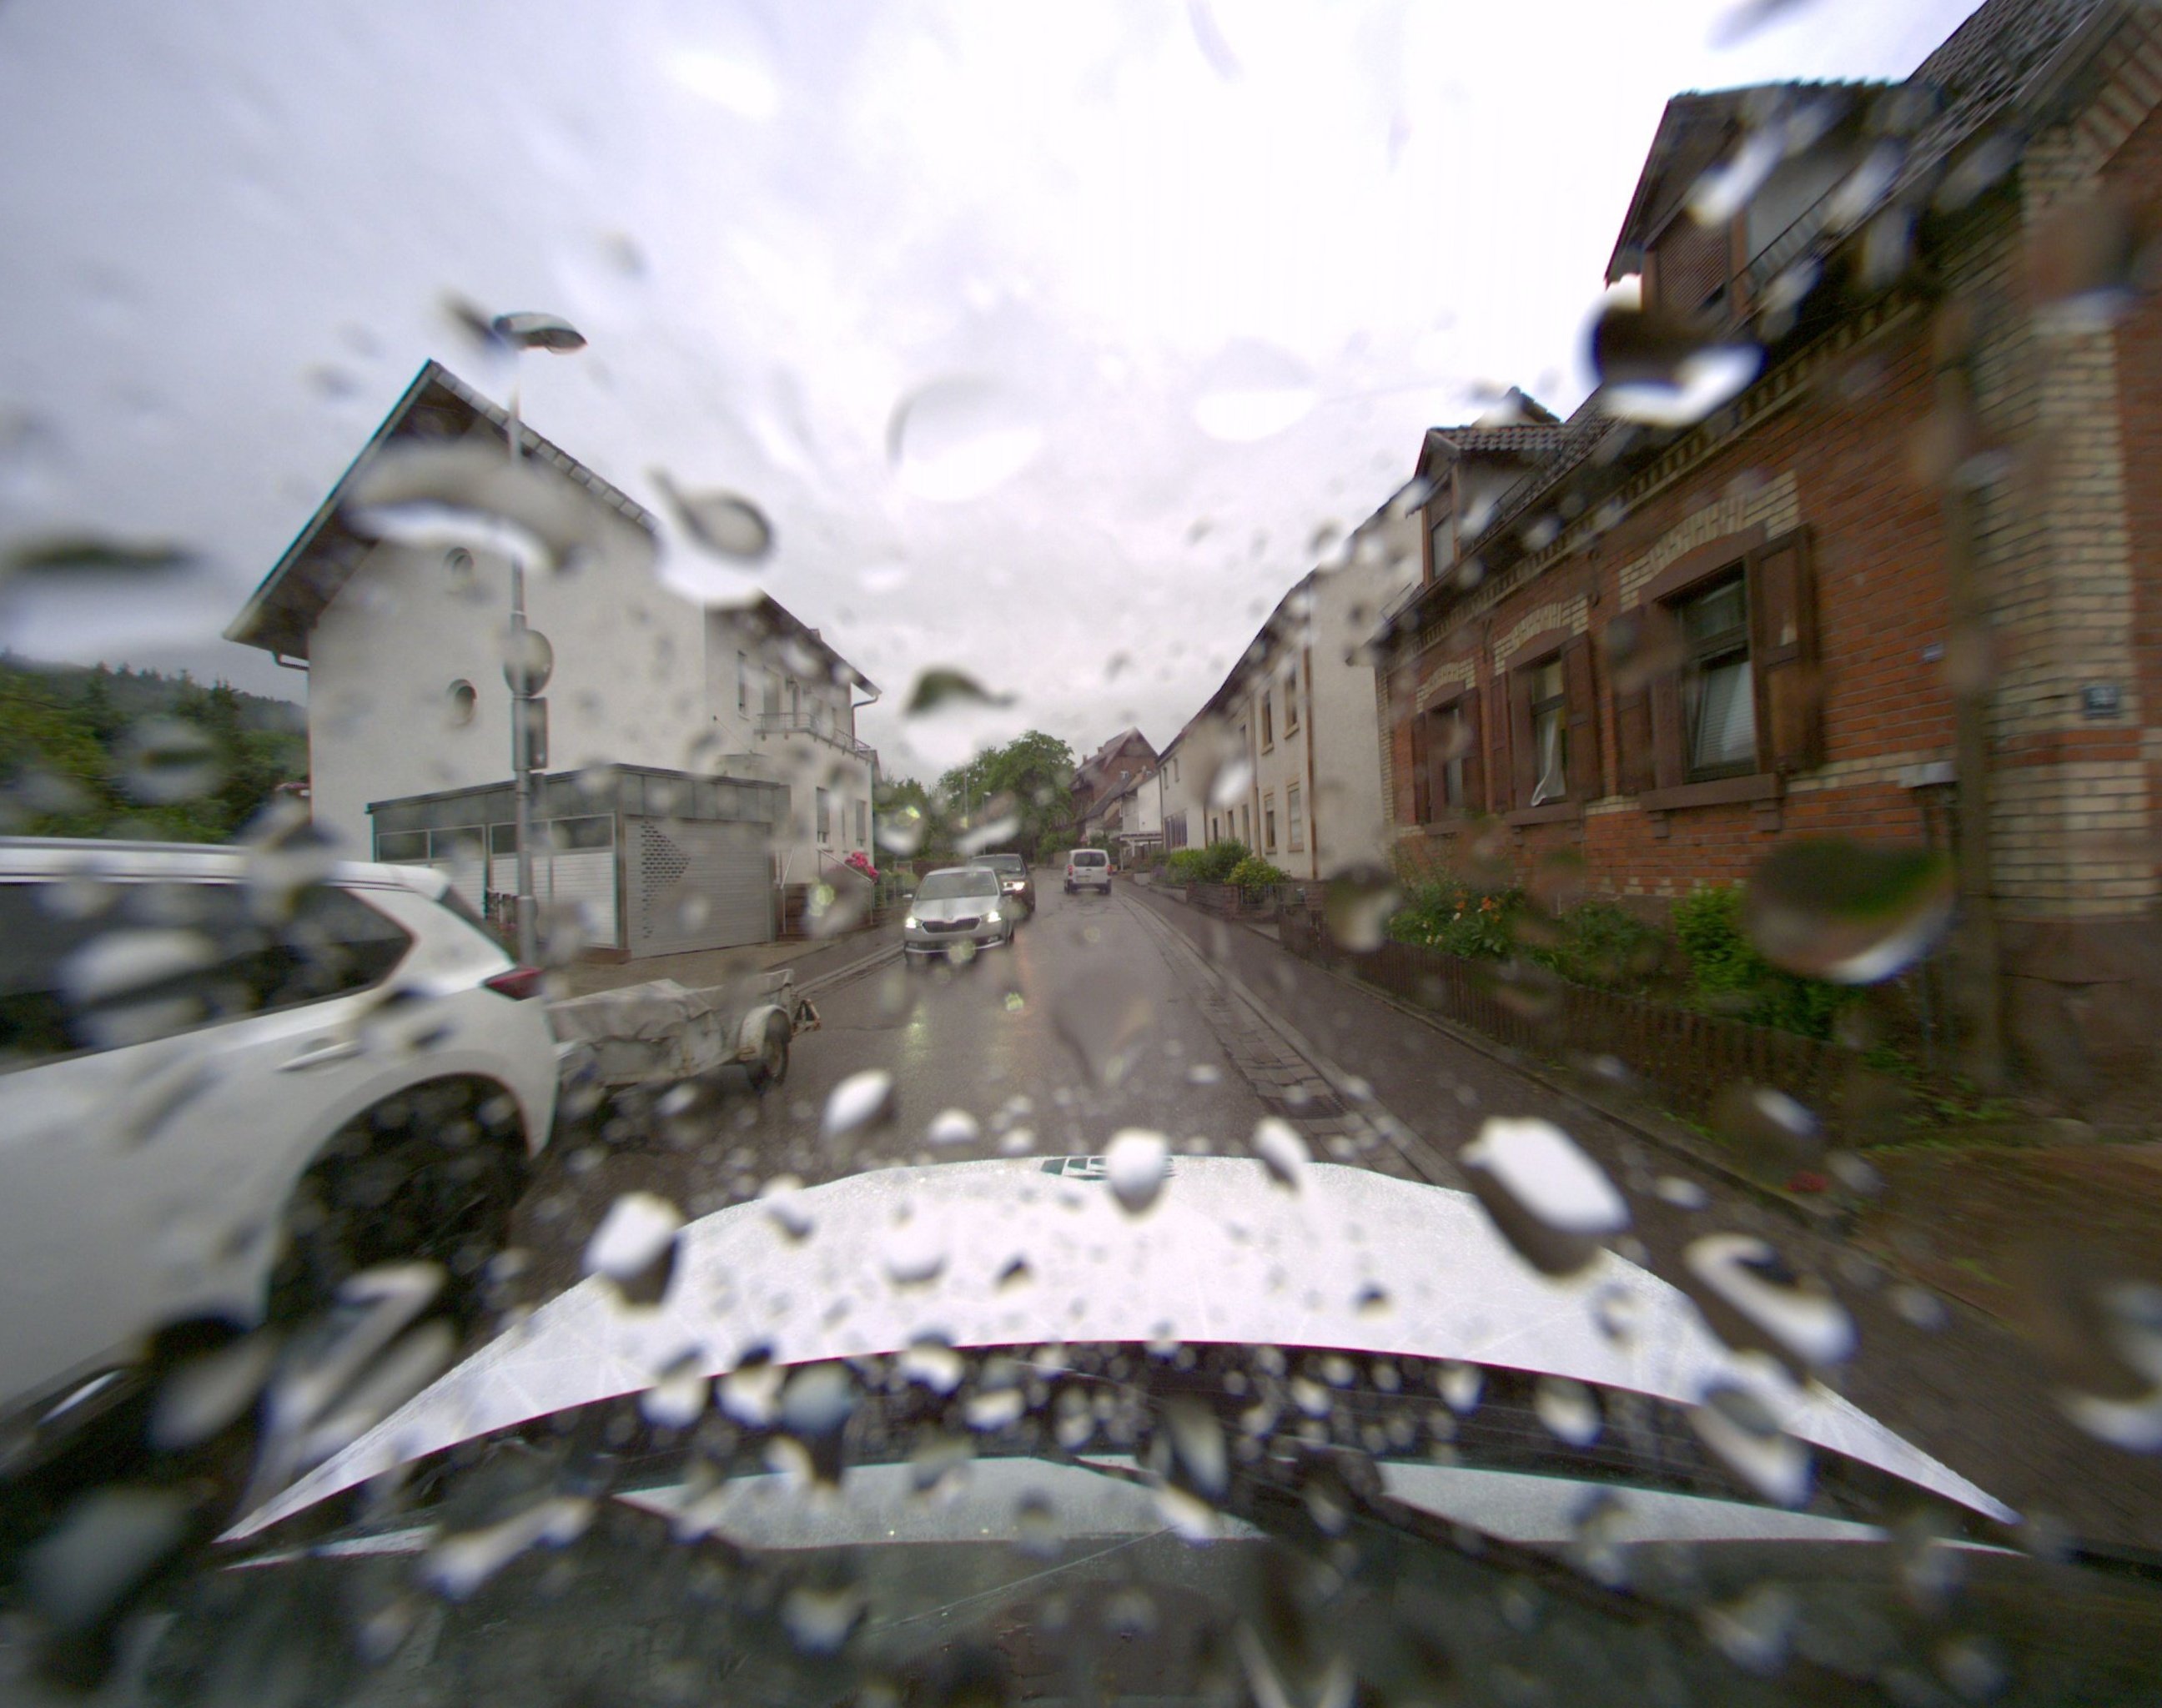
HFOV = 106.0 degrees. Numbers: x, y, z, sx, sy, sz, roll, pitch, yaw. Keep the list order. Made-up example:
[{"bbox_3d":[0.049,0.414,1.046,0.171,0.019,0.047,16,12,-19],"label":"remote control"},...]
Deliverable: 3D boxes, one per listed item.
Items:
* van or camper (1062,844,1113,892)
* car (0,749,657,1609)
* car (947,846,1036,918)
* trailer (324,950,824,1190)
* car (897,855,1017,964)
[{"bbox_3d":[0.303,0.544,33.965,1.936,1.851,4.001,-2,0,1],"label":"van or camper"},{"bbox_3d":[-2.962,0.666,1.549,1.741,1.636,4.421,-4,-2,3],"label":"car"},{"bbox_3d":[-2.313,0.681,22.263,1.988,1.677,4.779,-2,0,-2],"label":"car"},{"bbox_3d":[-2.862,1.195,5.253,1.478,0.829,2.676,-3,-2,1],"label":"trailer"},{"bbox_3d":[-2.038,0.844,14.339,1.685,1.564,3.929,-2,0,-4],"label":"car"}]
